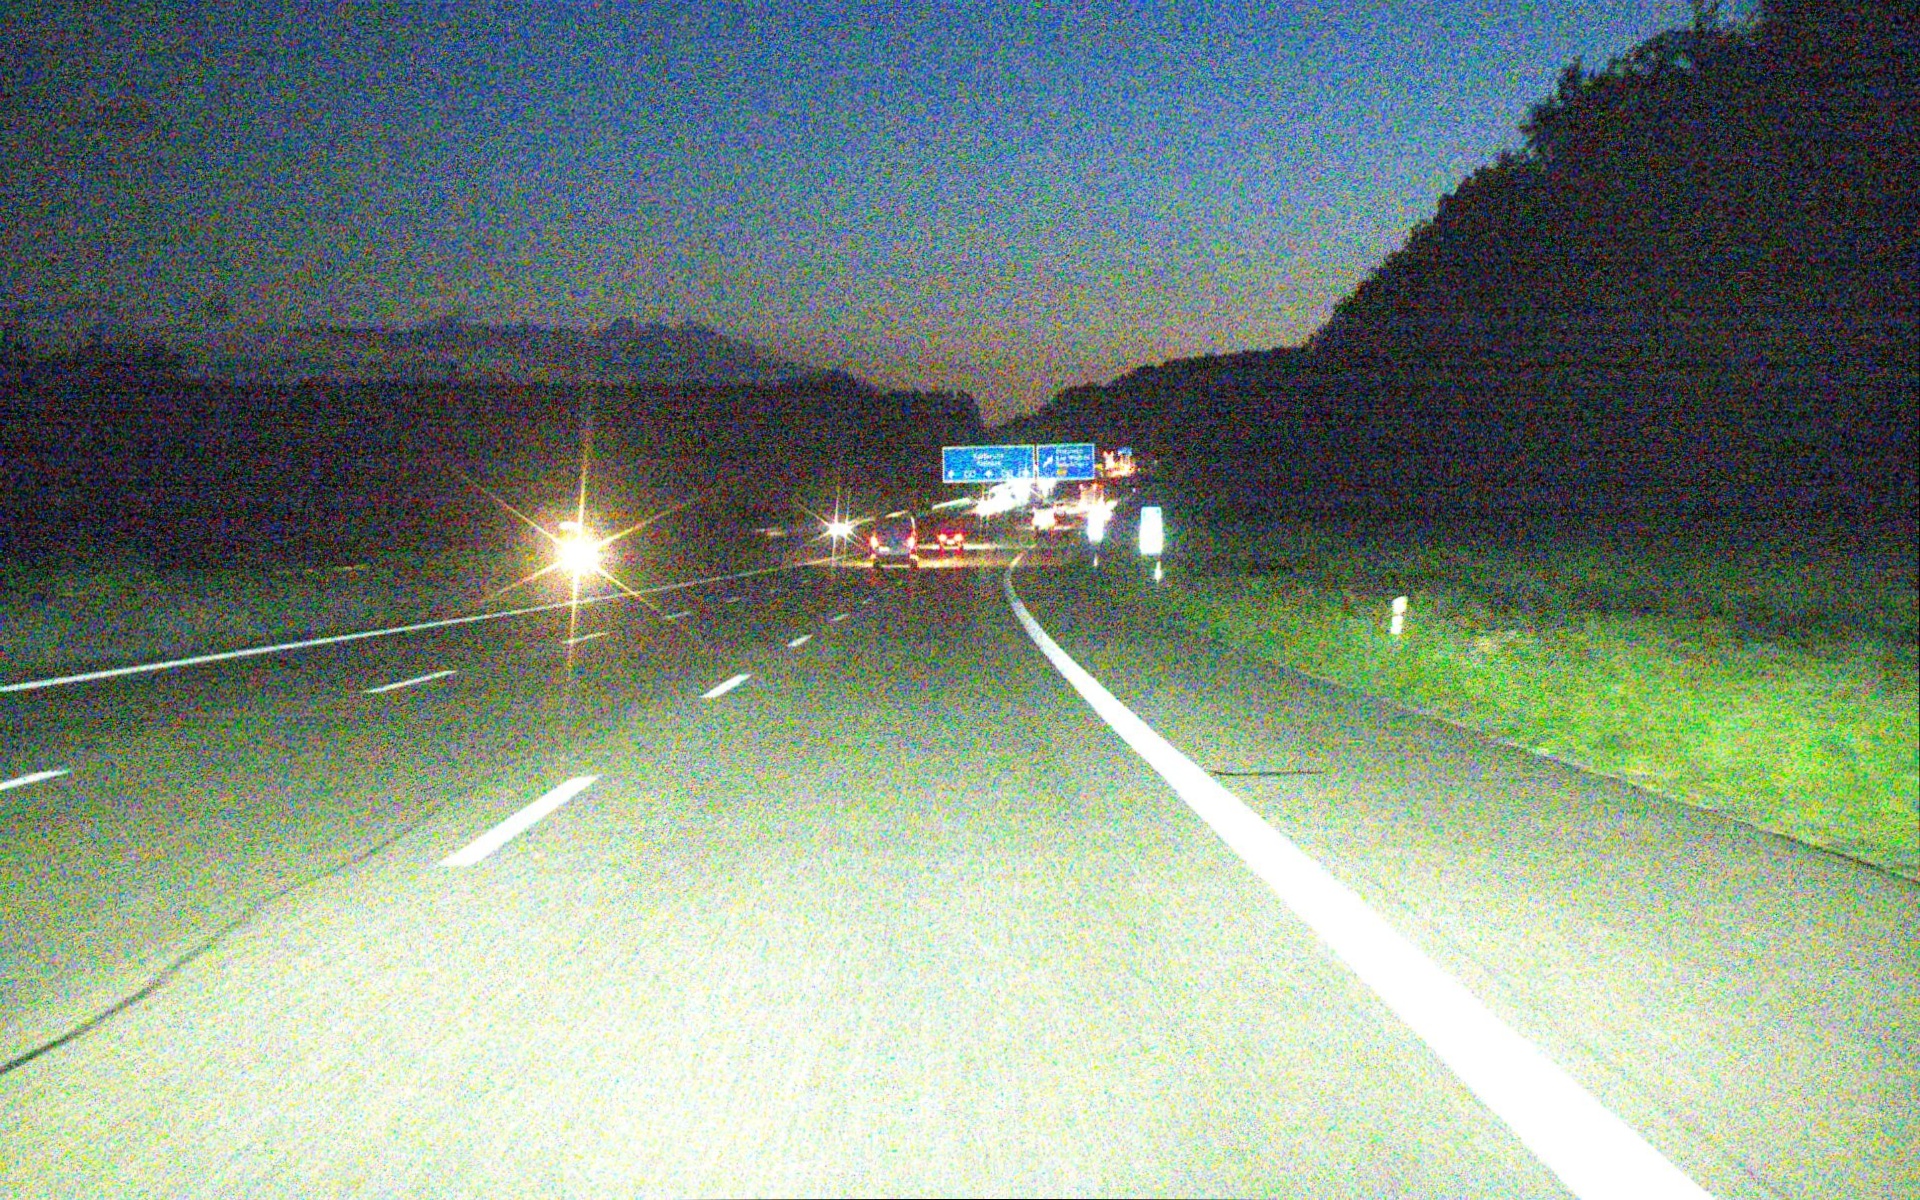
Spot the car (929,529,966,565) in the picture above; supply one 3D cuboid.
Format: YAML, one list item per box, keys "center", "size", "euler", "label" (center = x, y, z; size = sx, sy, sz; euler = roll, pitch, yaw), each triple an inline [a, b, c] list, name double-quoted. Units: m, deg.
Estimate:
- center: [-0.951, -4.032, 263.147]
  size: [2.786, 2.724, 6.299]
  euler: [0, 1, 1]
  label: "car"

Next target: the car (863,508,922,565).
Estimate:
- center: [-3.285, -3.061, 168.135]
  size: [2.786, 2.724, 6.299]
  euler: [0, 1, -1]
  label: "car"
